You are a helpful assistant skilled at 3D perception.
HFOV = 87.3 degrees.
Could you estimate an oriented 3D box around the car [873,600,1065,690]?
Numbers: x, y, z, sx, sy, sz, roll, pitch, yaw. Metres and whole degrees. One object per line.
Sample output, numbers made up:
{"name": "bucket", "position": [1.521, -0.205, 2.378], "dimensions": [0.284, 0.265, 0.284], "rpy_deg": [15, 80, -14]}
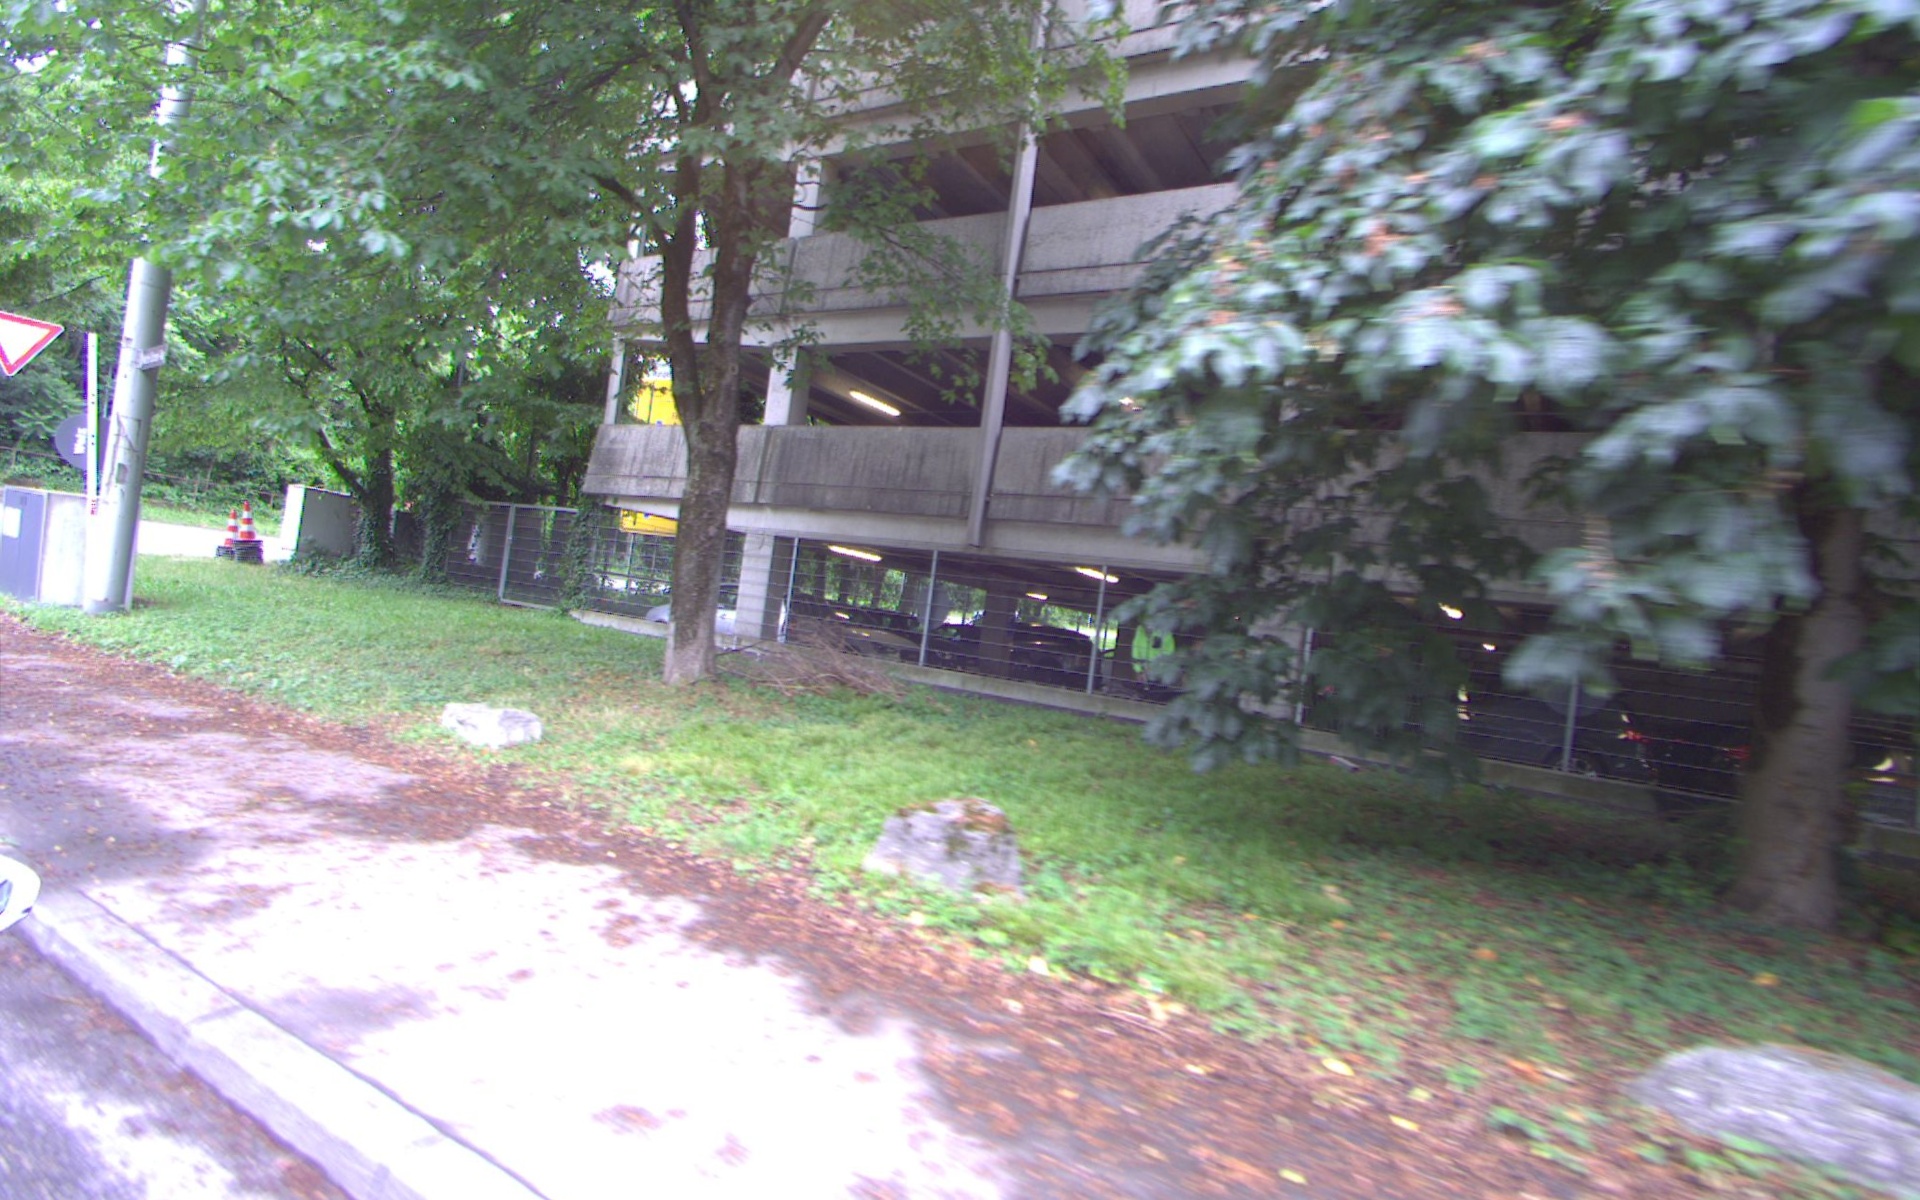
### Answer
{"name": "car", "position": [0.199, 1.052, 23.669], "dimensions": [3.934, 1.569, 1.998], "rpy_deg": [5, -3, 32]}

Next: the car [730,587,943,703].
{"name": "car", "position": [-2.390, 0.847, 19.275], "dimensions": [3.707, 1.727, 1.584], "rpy_deg": [5, -3, 32]}

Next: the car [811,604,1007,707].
{"name": "car", "position": [-1.098, 1.155, 21.332], "dimensions": [3.658, 1.682, 1.734], "rpy_deg": [5, -3, 32]}

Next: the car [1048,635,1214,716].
{"name": "car", "position": [5.408, 2.396, 32.009], "dimensions": [4.658, 1.855, 1.923], "rpy_deg": [7, -2, 33]}

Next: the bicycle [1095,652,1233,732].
{"name": "bicycle", "position": [2.396, 1.075, 11.832], "dimensions": [1.469, 0.744, 0.448], "rpy_deg": [6, -2, 24]}

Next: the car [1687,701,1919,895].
{"name": "car", "position": [11.941, 2.600, 12.926], "dimensions": [3.935, 2.036, 1.998], "rpy_deg": [5, -3, 33]}

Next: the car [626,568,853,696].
{"name": "car", "position": [-3.835, 0.530, 17.348], "dimensions": [3.658, 1.727, 1.484], "rpy_deg": [5, -3, 32]}

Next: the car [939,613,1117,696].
{"name": "car", "position": [1.716, 1.382, 25.608], "dimensions": [3.934, 1.569, 1.998], "rpy_deg": [5, -3, 32]}

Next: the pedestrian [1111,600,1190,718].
{"name": "pedestrian", "position": [2.310, 0.720, 12.195], "dimensions": [0.626, 1.332, 0.642], "rpy_deg": [6, -2, 31]}

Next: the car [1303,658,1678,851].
{"name": "car", "position": [7.892, 2.214, 15.293], "dimensions": [4.597, 2.036, 1.998], "rpy_deg": [5, -3, 31]}
